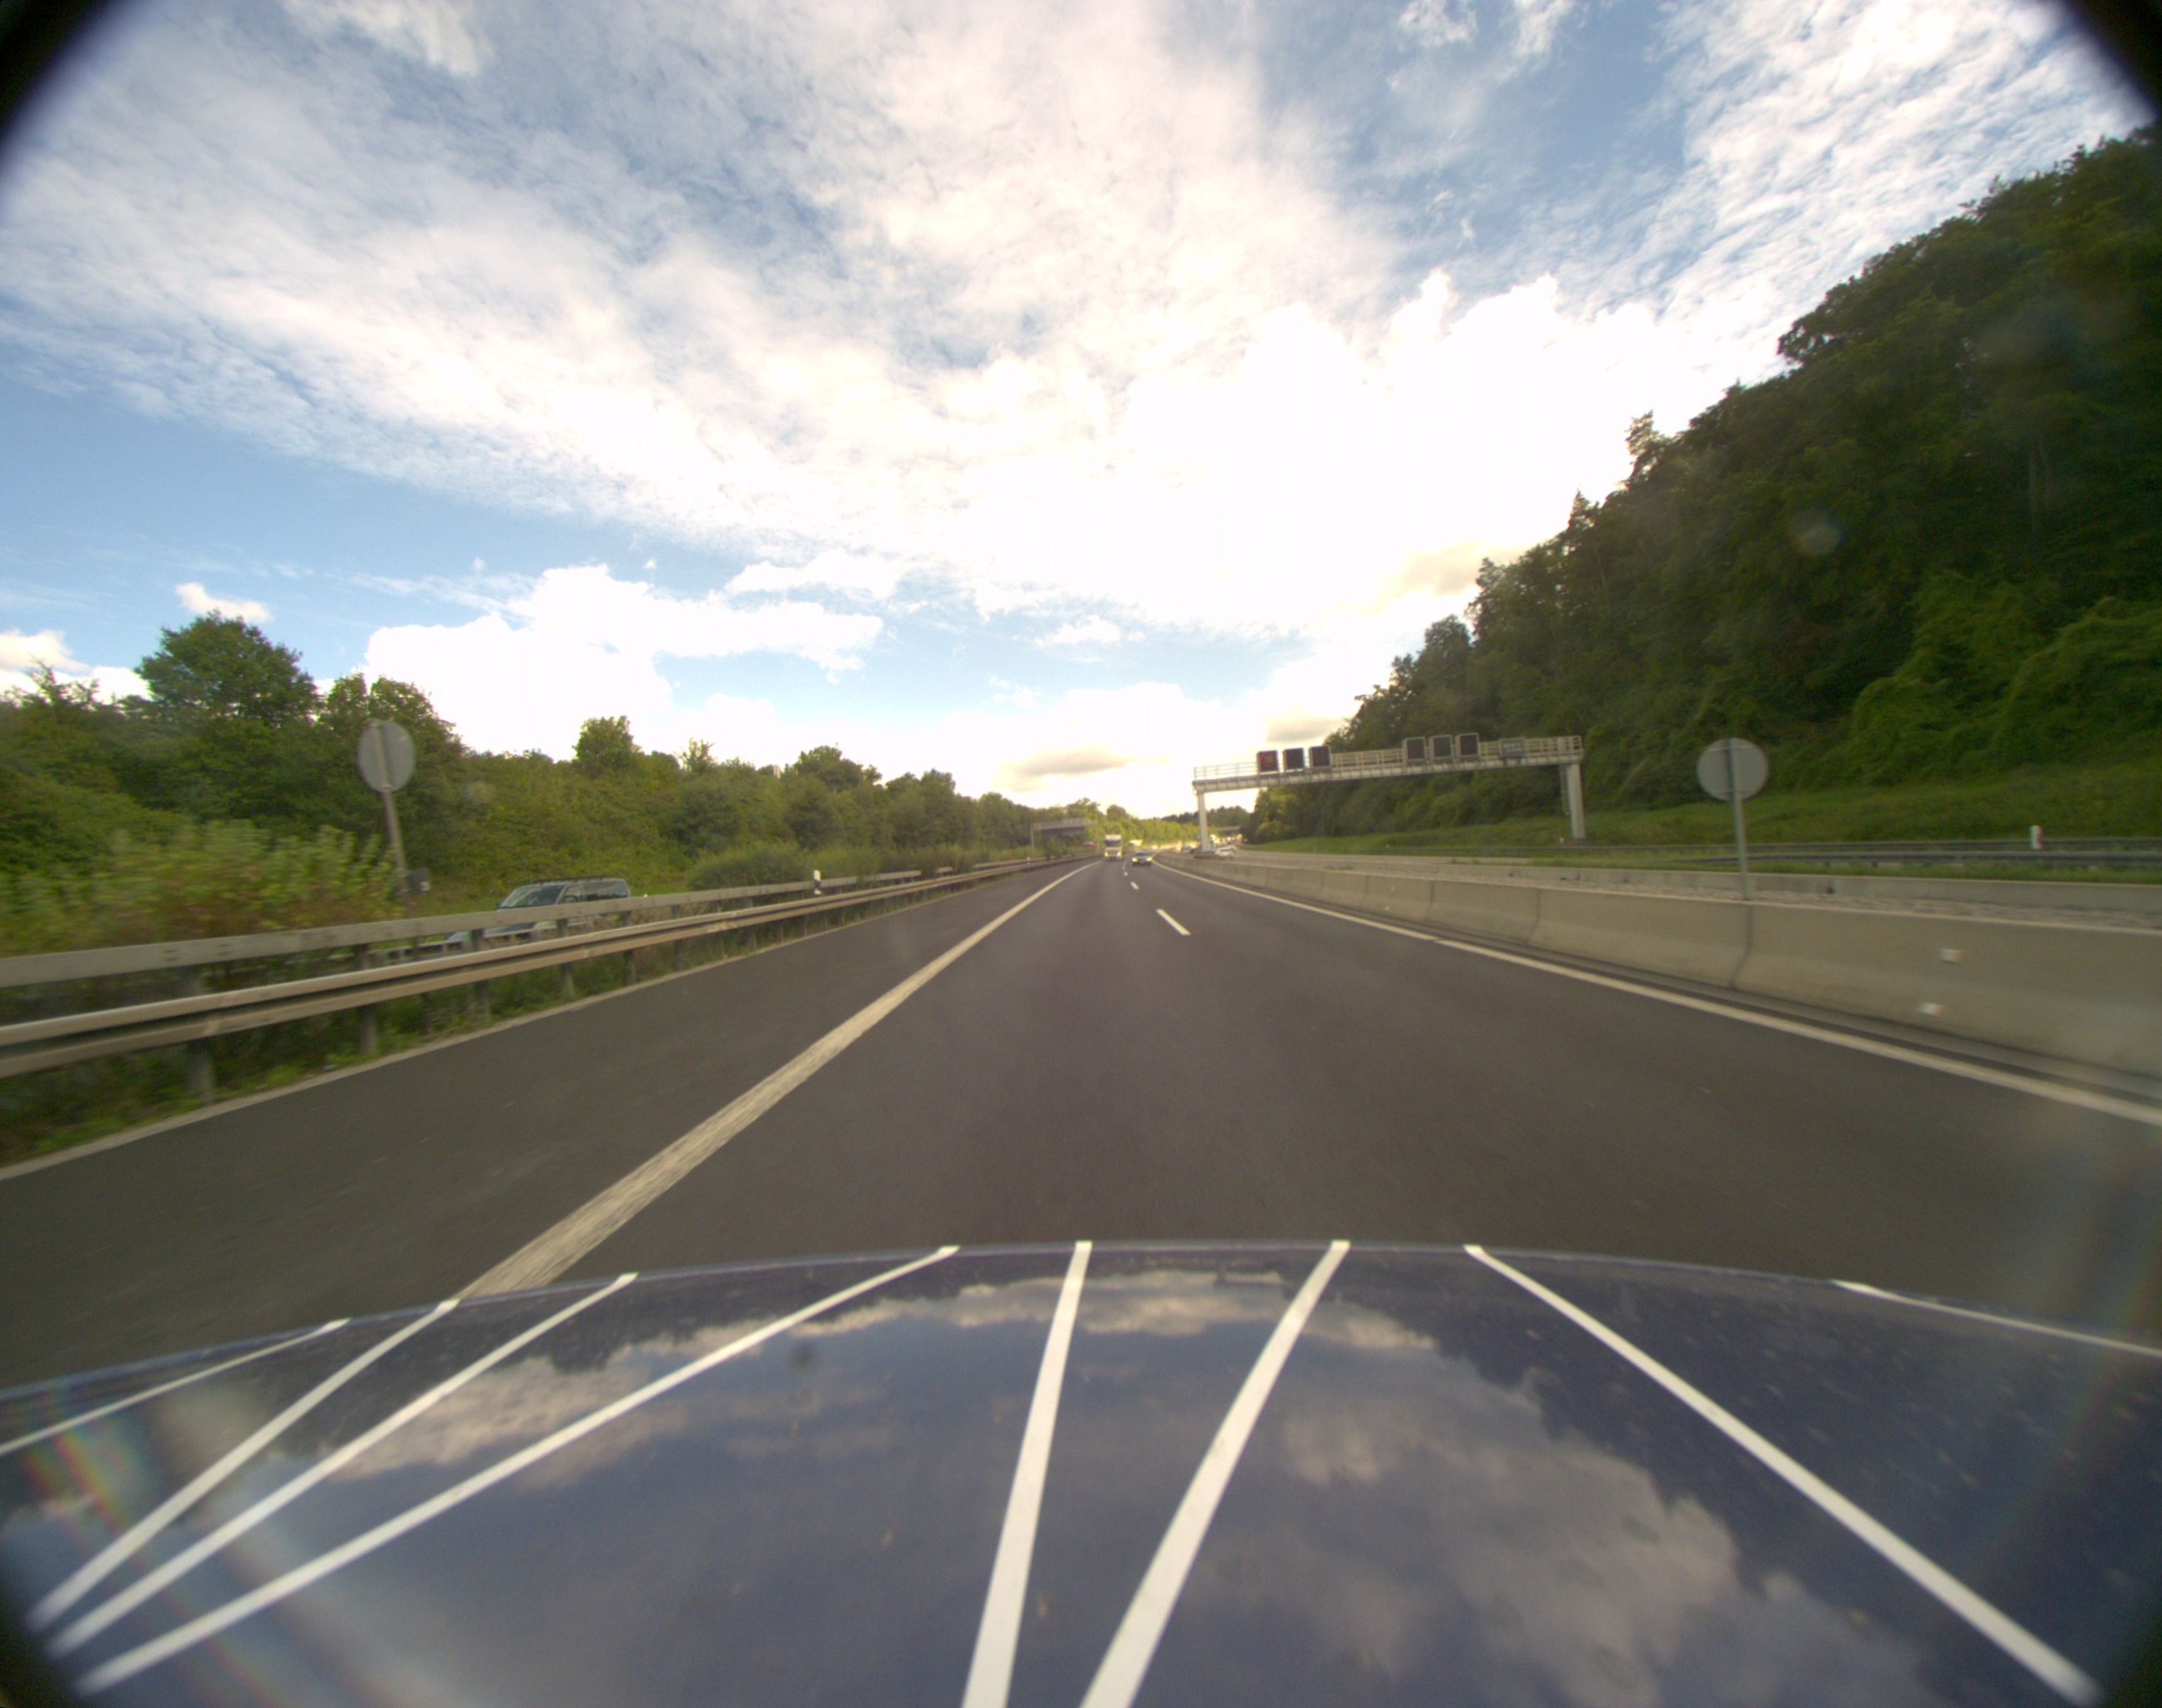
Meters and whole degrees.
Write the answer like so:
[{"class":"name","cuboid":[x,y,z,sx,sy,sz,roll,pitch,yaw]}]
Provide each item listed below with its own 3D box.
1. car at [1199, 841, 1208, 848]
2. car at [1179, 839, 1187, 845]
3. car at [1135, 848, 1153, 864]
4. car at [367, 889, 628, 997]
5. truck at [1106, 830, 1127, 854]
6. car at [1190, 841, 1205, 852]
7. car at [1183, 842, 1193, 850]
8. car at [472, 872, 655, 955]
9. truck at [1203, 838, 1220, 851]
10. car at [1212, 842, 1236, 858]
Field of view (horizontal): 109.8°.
[{"class":"car","cuboid":[34.199,-2.652,212.166,1.997,1.530,4.742,-3,0,7]},{"class":"car","cuboid":[26.688,-3.115,199.080,1.702,1.530,4.501,-2,1,4]},{"class":"car","cuboid":[6.363,0.219,76.478,1.662,1.464,4.001,-2,1,5]},{"class":"car","cuboid":[-11.339,1.639,15.251,1.788,1.562,4.344,-2,0,1]},{"class":"truck","cuboid":[5.733,-2.016,120.722,2.795,3.563,11.458,-2,2,4]},{"class":"car","cuboid":[19.003,-1.277,124.370,1.998,1.631,4.001,-2,1,4]},{"class":"car","cuboid":[20.469,-1.470,145.700,1.568,1.441,3.889,-2,1,5]},{"class":"car","cuboid":[-15.530,1.694,23.241,1.998,2.002,4.909,-2,1,2]},{"class":"truck","cuboid":[22.988,-1.704,133.961,2.188,2.213,5.572,-2,1,4]},{"class":"car","cuboid":[14.994,-0.433,79.743,1.768,1.572,4.933,-3,1,3]}]
